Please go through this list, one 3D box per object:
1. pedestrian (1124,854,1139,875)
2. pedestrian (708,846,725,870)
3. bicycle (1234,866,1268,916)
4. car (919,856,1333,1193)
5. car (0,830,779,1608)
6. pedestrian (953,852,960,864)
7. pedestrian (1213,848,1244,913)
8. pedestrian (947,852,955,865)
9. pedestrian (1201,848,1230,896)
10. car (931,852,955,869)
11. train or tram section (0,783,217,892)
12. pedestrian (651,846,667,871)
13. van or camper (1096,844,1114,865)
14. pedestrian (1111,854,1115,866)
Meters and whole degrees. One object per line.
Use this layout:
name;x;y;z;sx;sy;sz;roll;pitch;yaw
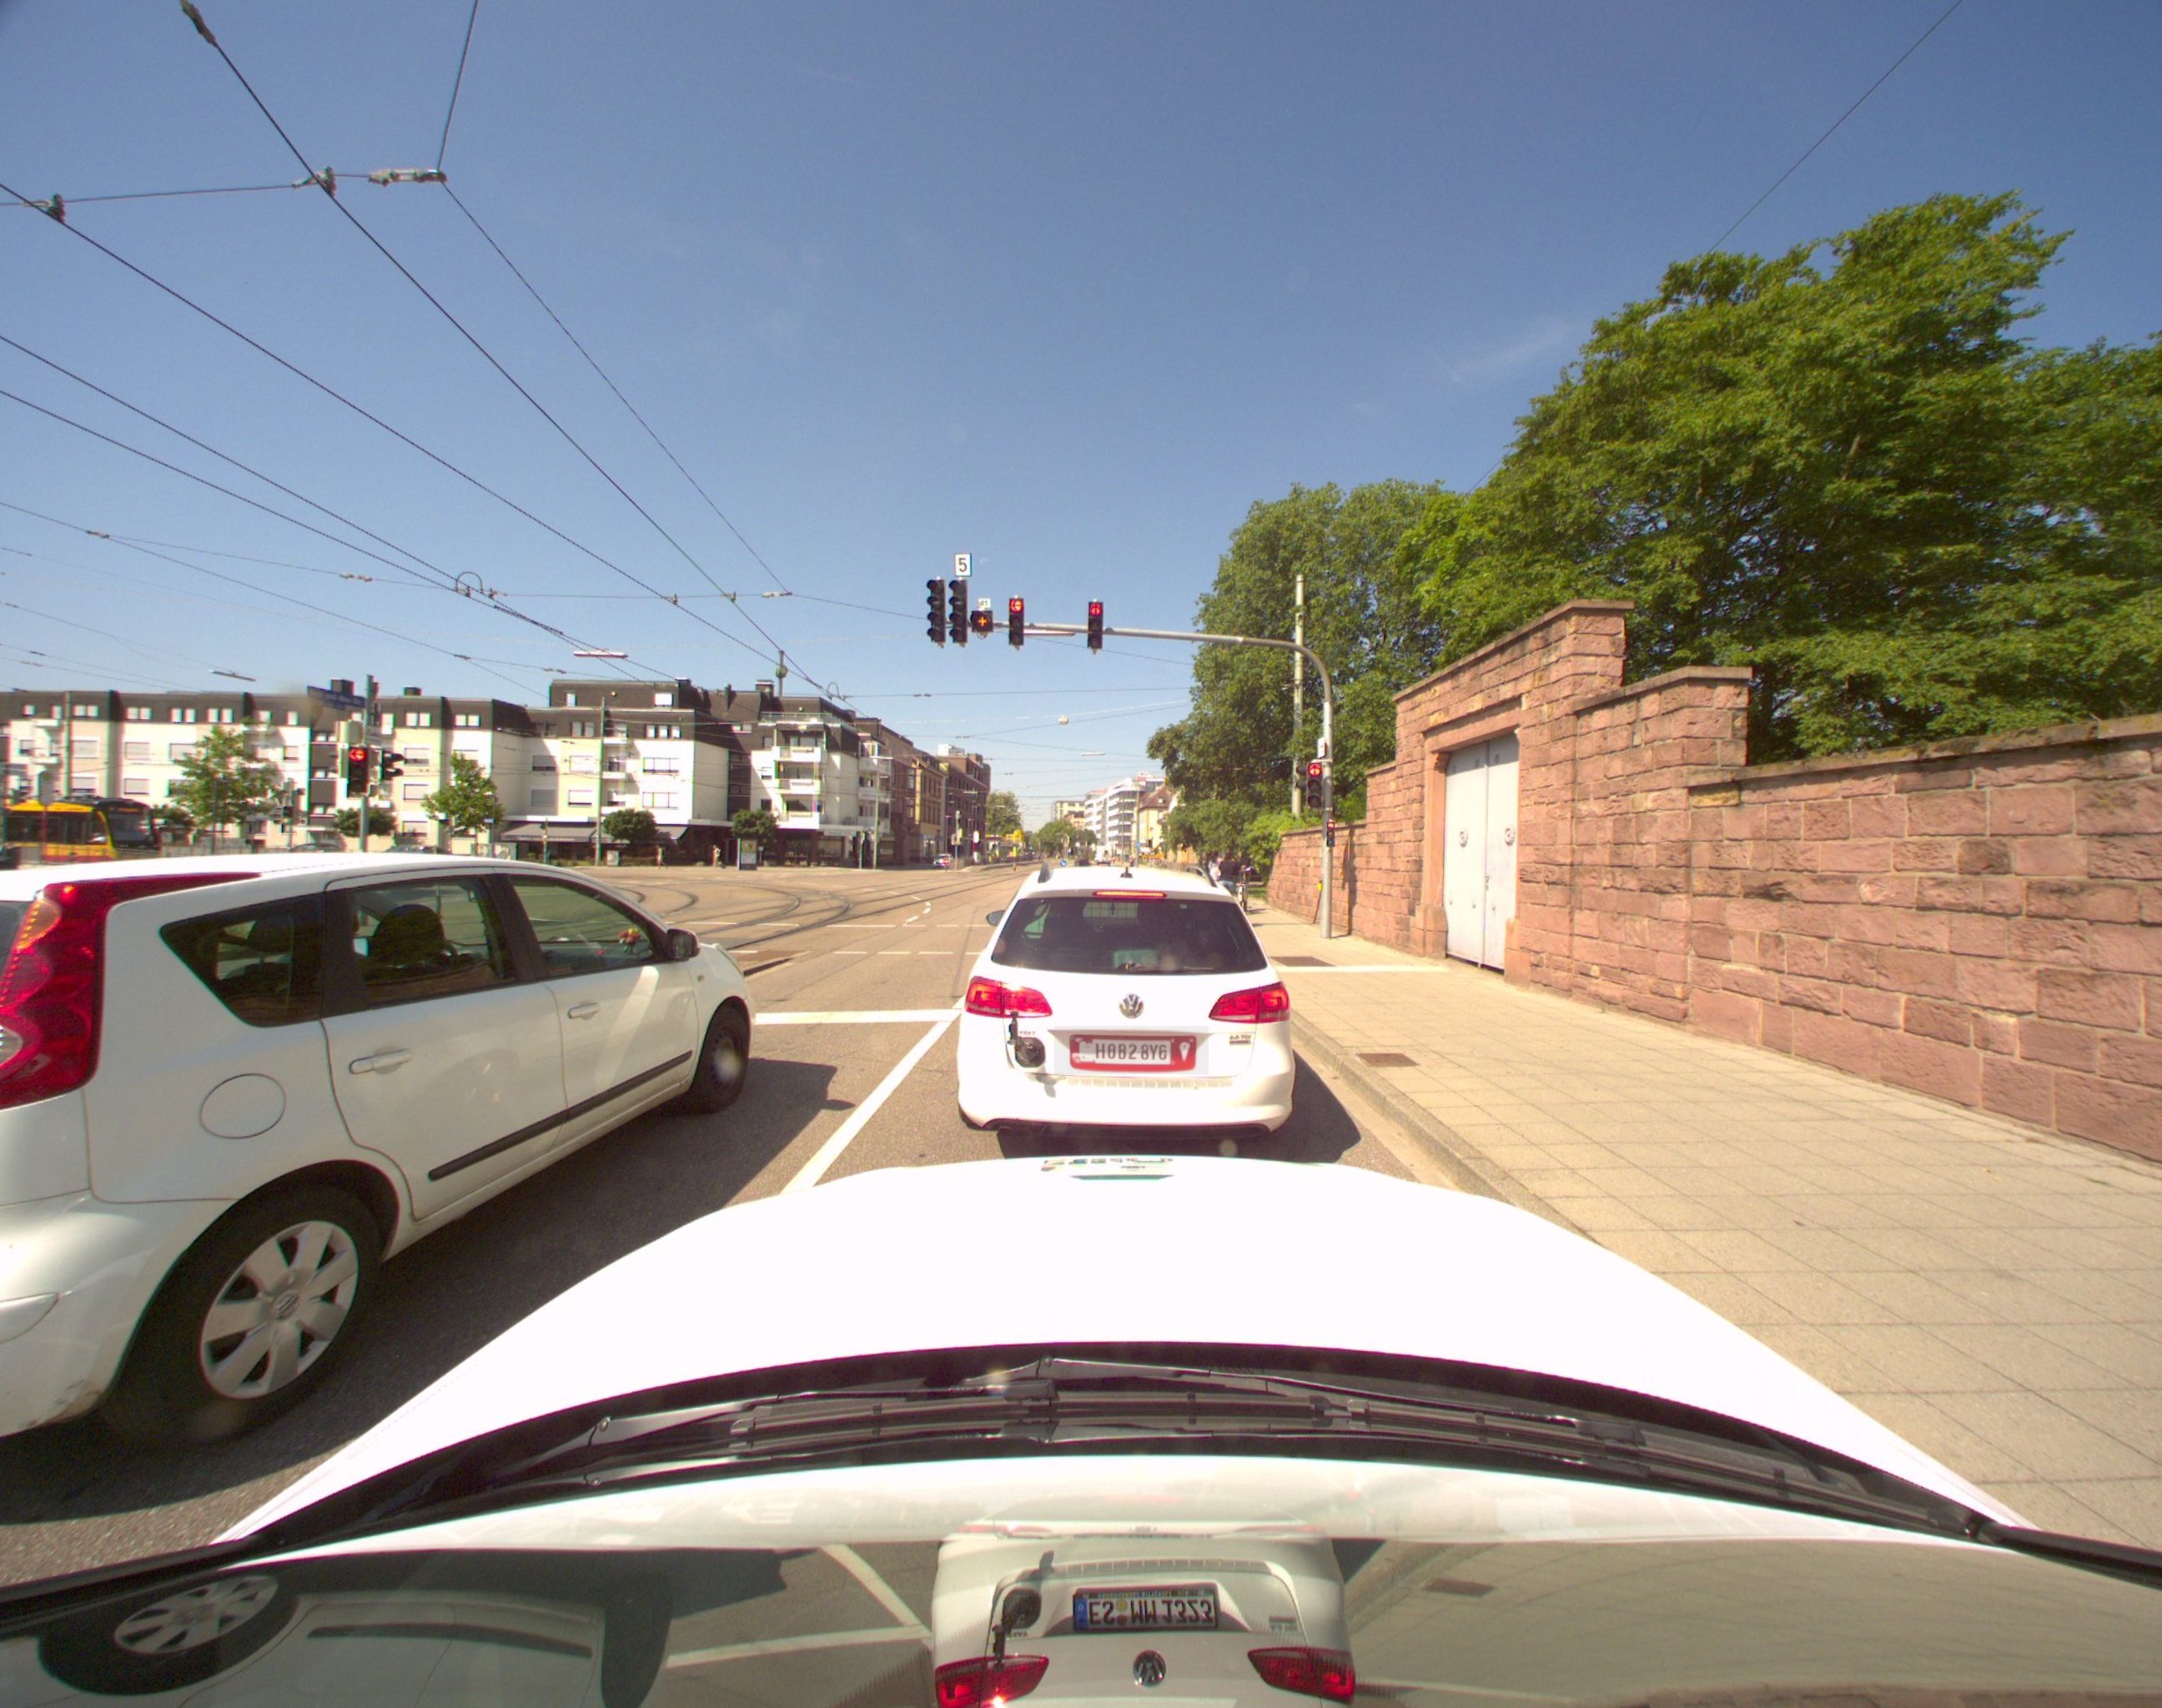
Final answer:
pedestrian;4.340;0.887;69.529;0.963;1.743;0.869;-2;-1;26
pedestrian;-27.211;0.317;60.739;0.980;1.743;0.854;0;-2;-39
bicycle;4.264;0.886;20.315;0.703;1.090;2.034;-1;1;15
car;0.252;0.750;5.559;1.801;1.448;4.001;0;0;1
car;-2.899;0.721;3.546;1.636;1.566;3.805;-1;1;1
pedestrian;-17.784;0.582;116.362;0.860;1.743;0.973;-1;-1;-4
pedestrian;3.703;0.651;20.395;0.668;1.571;0.751;0;0;16
pedestrian;-17.463;0.619;109.474;0.860;1.743;0.973;-1;-1;-4
pedestrian;4.761;0.629;28.900;0.947;1.651;0.977;-1;-1;8
car;-13.689;0.682;81.053;1.736;1.618;3.997;-1;-1;-1
train or tram section;-54.716;-0.677;41.518;16.149;5.150;4.735;-1;-1;0
pedestrian;-29.975;0.298;57.871;0.978;1.743;0.856;0;-2;-30
van or camper;3.585;0.146;124.863;2.558;3.093;5.702;-1;-1;0
pedestrian;6.156;1.161;155.723;0.687;2.325;1.233;-1;-1;3
